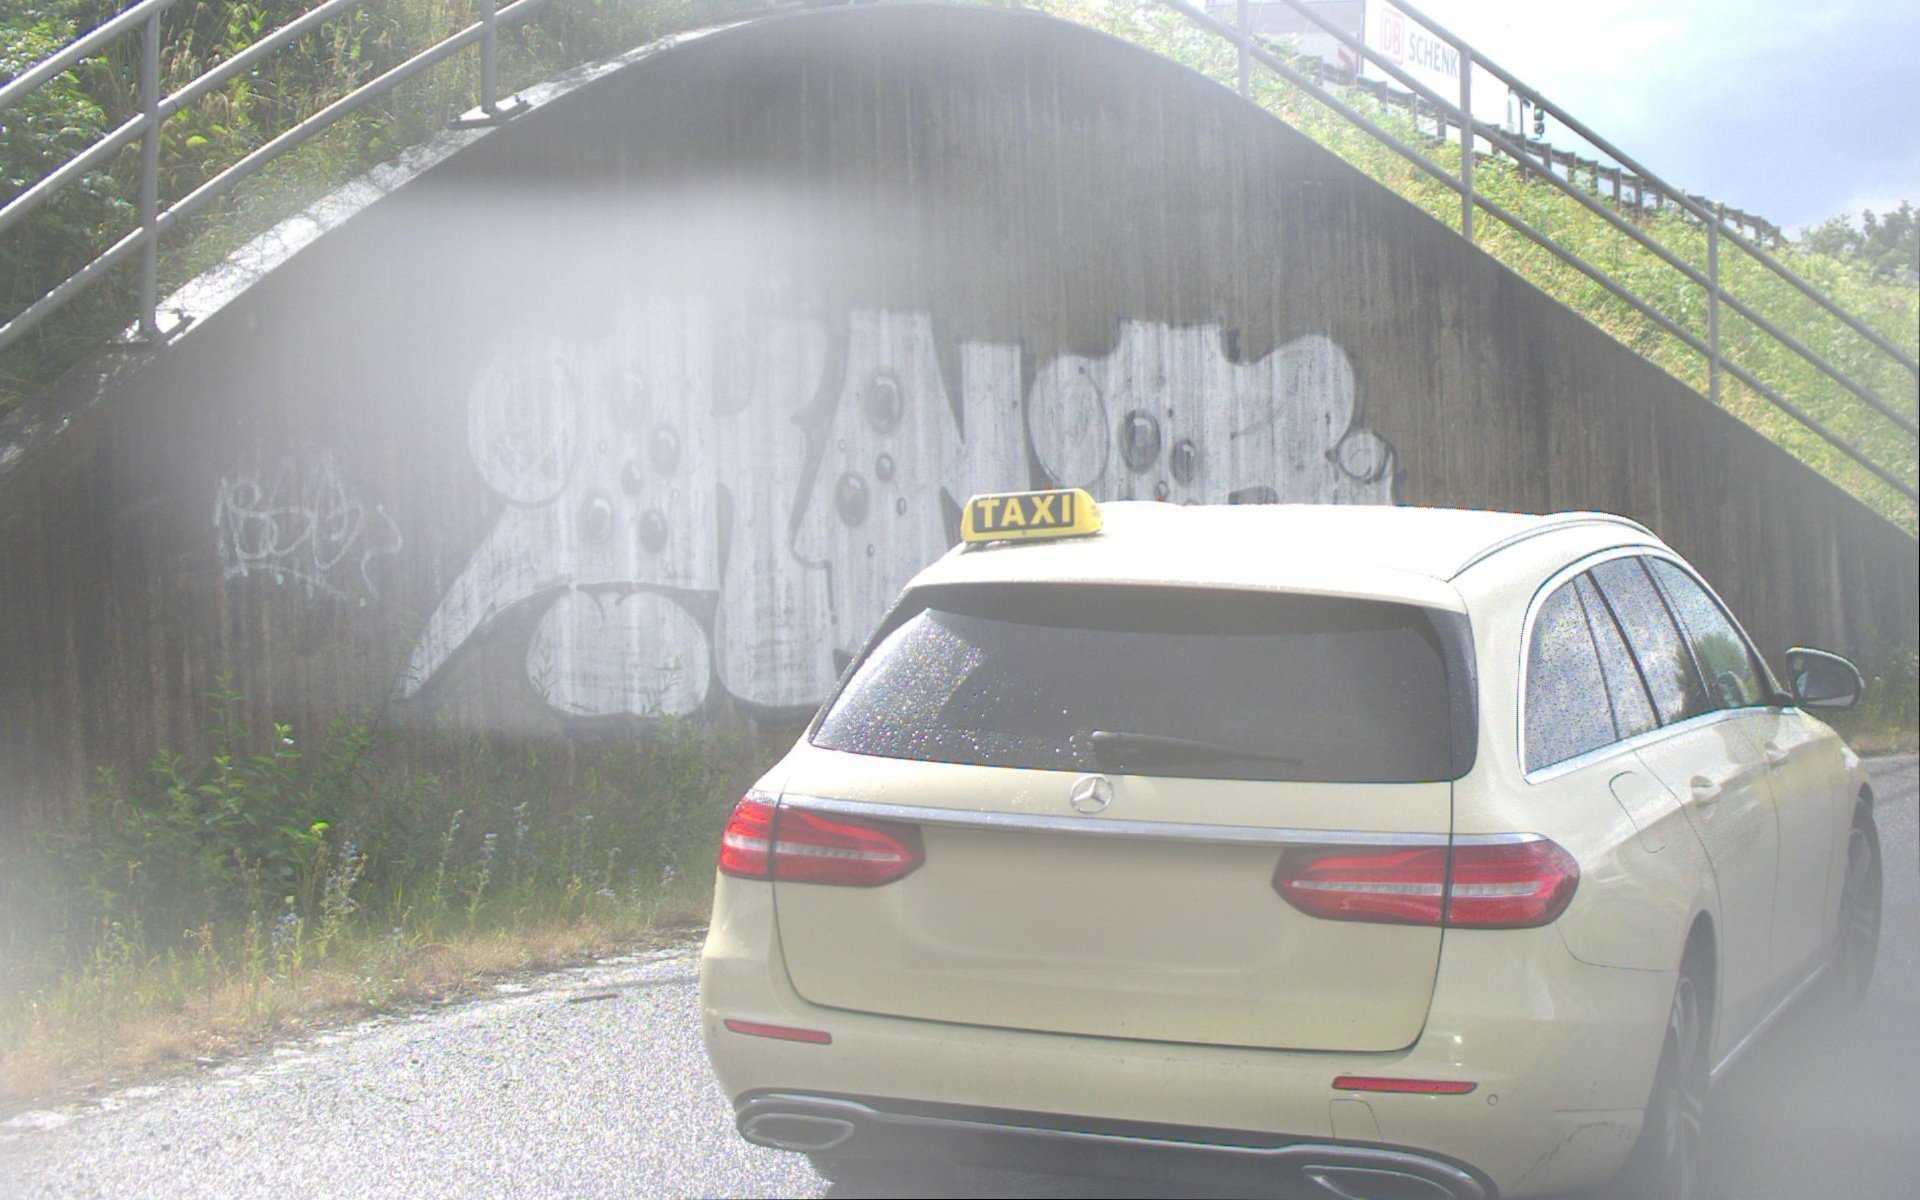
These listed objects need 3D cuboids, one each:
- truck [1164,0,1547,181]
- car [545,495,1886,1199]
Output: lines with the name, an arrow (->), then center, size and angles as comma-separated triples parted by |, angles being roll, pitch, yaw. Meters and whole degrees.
truck -> 6.416, -9.115, 53.984 | 3.184, 3.952, 9.224 | 1, 1, 25
car -> 0.957, 0.512, 8.109 | 1.918, 1.502, 4.591 | 0, 2, 21
